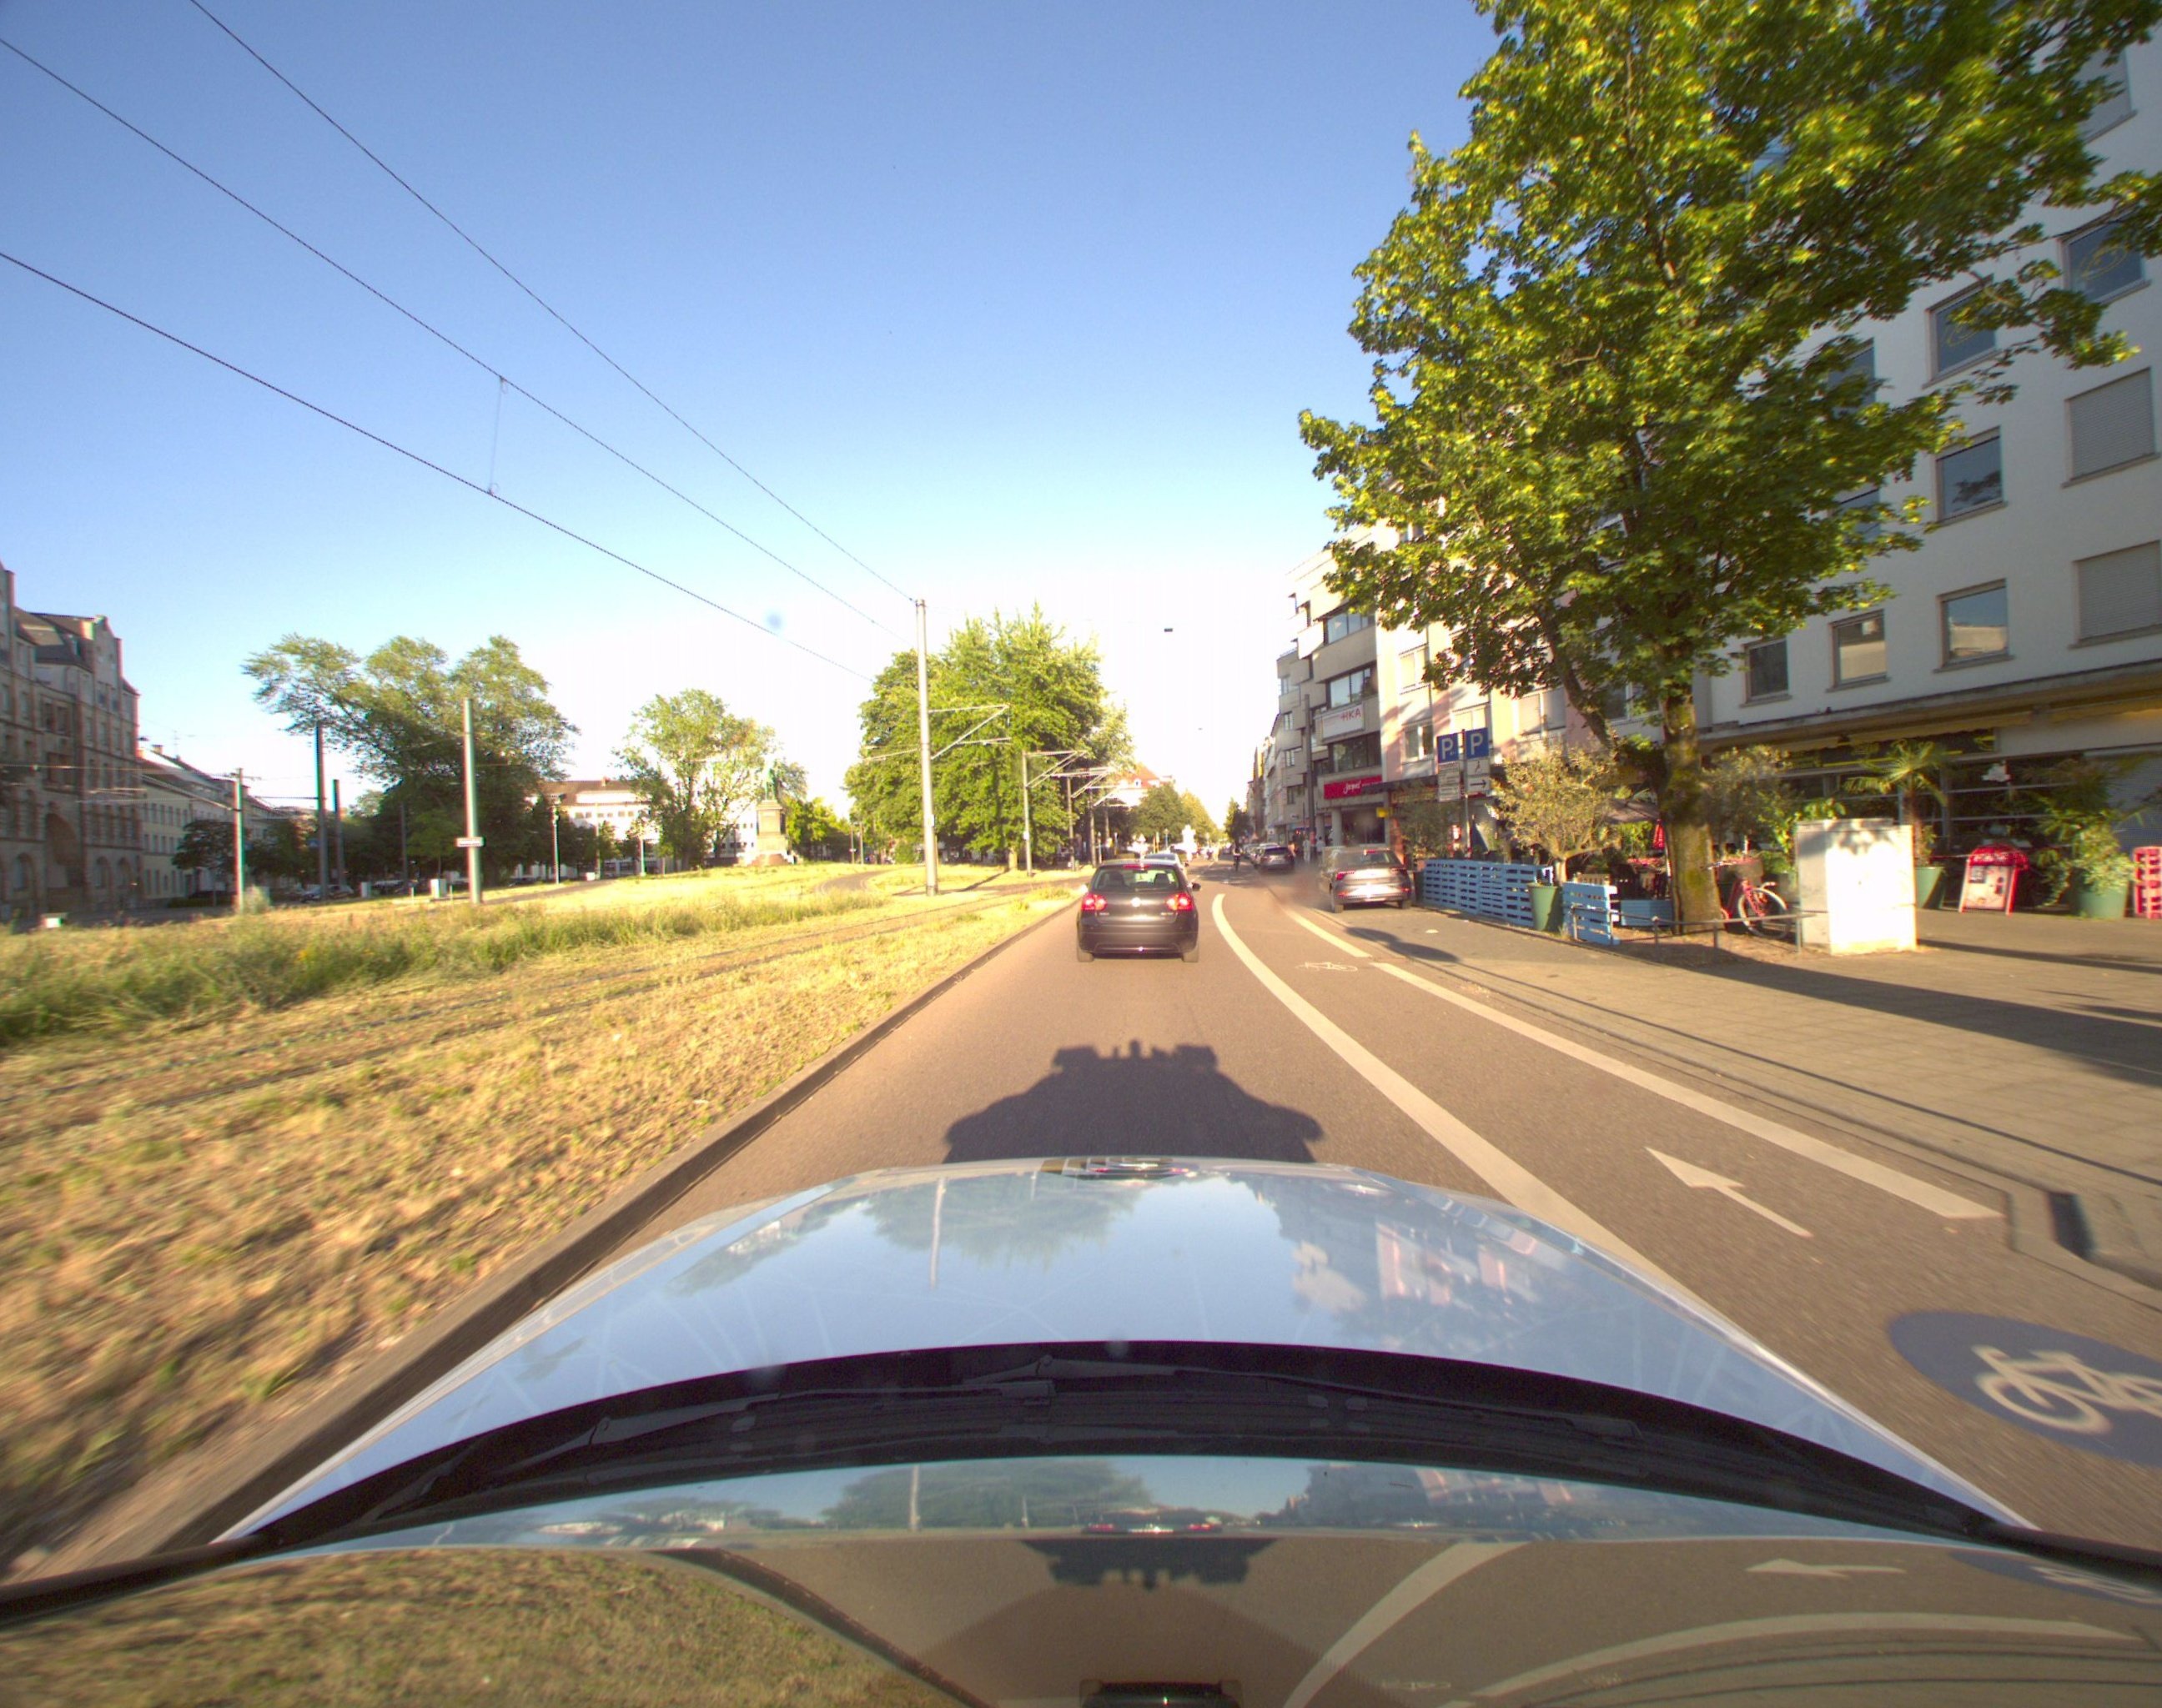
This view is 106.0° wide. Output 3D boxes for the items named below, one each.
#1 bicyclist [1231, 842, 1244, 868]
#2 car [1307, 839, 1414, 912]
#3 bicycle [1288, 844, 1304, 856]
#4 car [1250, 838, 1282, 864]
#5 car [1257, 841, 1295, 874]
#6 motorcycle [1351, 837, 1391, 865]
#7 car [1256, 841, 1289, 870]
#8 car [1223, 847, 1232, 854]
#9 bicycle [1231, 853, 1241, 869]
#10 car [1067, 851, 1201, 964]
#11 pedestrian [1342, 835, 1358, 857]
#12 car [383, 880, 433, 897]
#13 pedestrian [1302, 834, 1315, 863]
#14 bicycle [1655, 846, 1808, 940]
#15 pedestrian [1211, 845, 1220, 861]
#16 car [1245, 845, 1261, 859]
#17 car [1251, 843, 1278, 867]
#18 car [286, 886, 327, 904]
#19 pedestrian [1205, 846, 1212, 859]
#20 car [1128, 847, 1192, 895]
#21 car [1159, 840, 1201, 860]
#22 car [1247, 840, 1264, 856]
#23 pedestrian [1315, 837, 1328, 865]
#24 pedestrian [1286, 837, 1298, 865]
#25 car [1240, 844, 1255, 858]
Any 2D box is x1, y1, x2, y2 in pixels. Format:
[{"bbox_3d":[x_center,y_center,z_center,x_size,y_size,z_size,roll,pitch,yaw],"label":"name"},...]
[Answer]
[{"bbox_3d":[9.979,0.059,52.101,0.772,1.618,1.028,-1,0,10],"label":"bicyclist"},{"bbox_3d":[6.617,0.456,19.656,1.718,1.472,3.909,-5,0,9],"label":"car"},{"bbox_3d":[22.595,-0.381,85.526,0.517,1.119,1.507,-5,-1,-33],"label":"bicycle"},{"bbox_3d":[13.863,-0.240,61.267,1.857,1.713,4.516,-5,0,8],"label":"car"},{"bbox_3d":[10.702,0.164,44.896,1.770,1.556,4.247,-5,0,11],"label":"car"},{"bbox_3d":[15.109,-0.153,42.453,1.778,1.331,0.583,-4,0,-2],"label":"motorcycle"},{"bbox_3d":[11.678,0.083,49.881,1.598,1.556,3.620,-5,0,9],"label":"car"},{"bbox_3d":[32.989,-0.747,183.852,1.895,1.552,4.011,-2,0,10],"label":"car"},{"bbox_3d":[9.928,0.460,52.211,0.575,0.987,1.941,-1,0,10],"label":"bicycle"},{"bbox_3d":[0.996,0.711,12.898,1.737,1.461,4.113,-2,0,8],"label":"car"},{"bbox_3d":[20.326,-0.604,61.504,0.982,1.673,0.644,-3,0,11],"label":"pedestrian"},{"bbox_3d":[-64.111,3.253,77.629,1.542,1.354,3.527,-1,0,6],"label":"car"},{"bbox_3d":[14.744,-0.357,52.834,0.618,1.858,0.664,-5,-1,11],"label":"pedestrian"},{"bbox_3d":[8.785,0.480,11.084,0.420,1.157,1.748,-2,1,-12],"label":"bicycle"},{"bbox_3d":[14.198,-0.117,86.051,0.855,1.706,0.942,-1,0,4],"label":"pedestrian"},{"bbox_3d":[21.558,-0.194,101.932,1.724,1.617,3.928,-4,0,10],"label":"car"},{"bbox_3d":[12.494,0.032,55.530,1.651,1.441,3.868,-5,0,12],"label":"car"},{"bbox_3d":[-63.569,3.330,66.883,1.575,1.258,3.692,-2,0,-30],"label":"car"},{"bbox_3d":[15.001,-0.164,96.109,0.732,1.555,0.633,-2,0,6],"label":"pedestrian"},{"bbox_3d":[2.874,0.551,28.886,1.853,1.441,4.209,-3,1,10],"label":"car"},{"bbox_3d":[14.106,-0.554,115.855,5.523,2.594,2.143,-2,0,-16],"label":"car"},{"bbox_3d":[20.679,-0.717,96.828,1.724,1.800,3.928,-4,0,10],"label":"car"},{"bbox_3d":[15.594,-0.218,52.837,0.618,1.740,0.664,-5,-1,11],"label":"pedestrian"},{"bbox_3d":[13.812,-0.184,53.245,0.575,1.760,0.664,-5,-1,11],"label":"pedestrian"},{"bbox_3d":[23.409,-0.398,114.225,1.913,1.841,4.030,-4,0,11],"label":"car"}]
